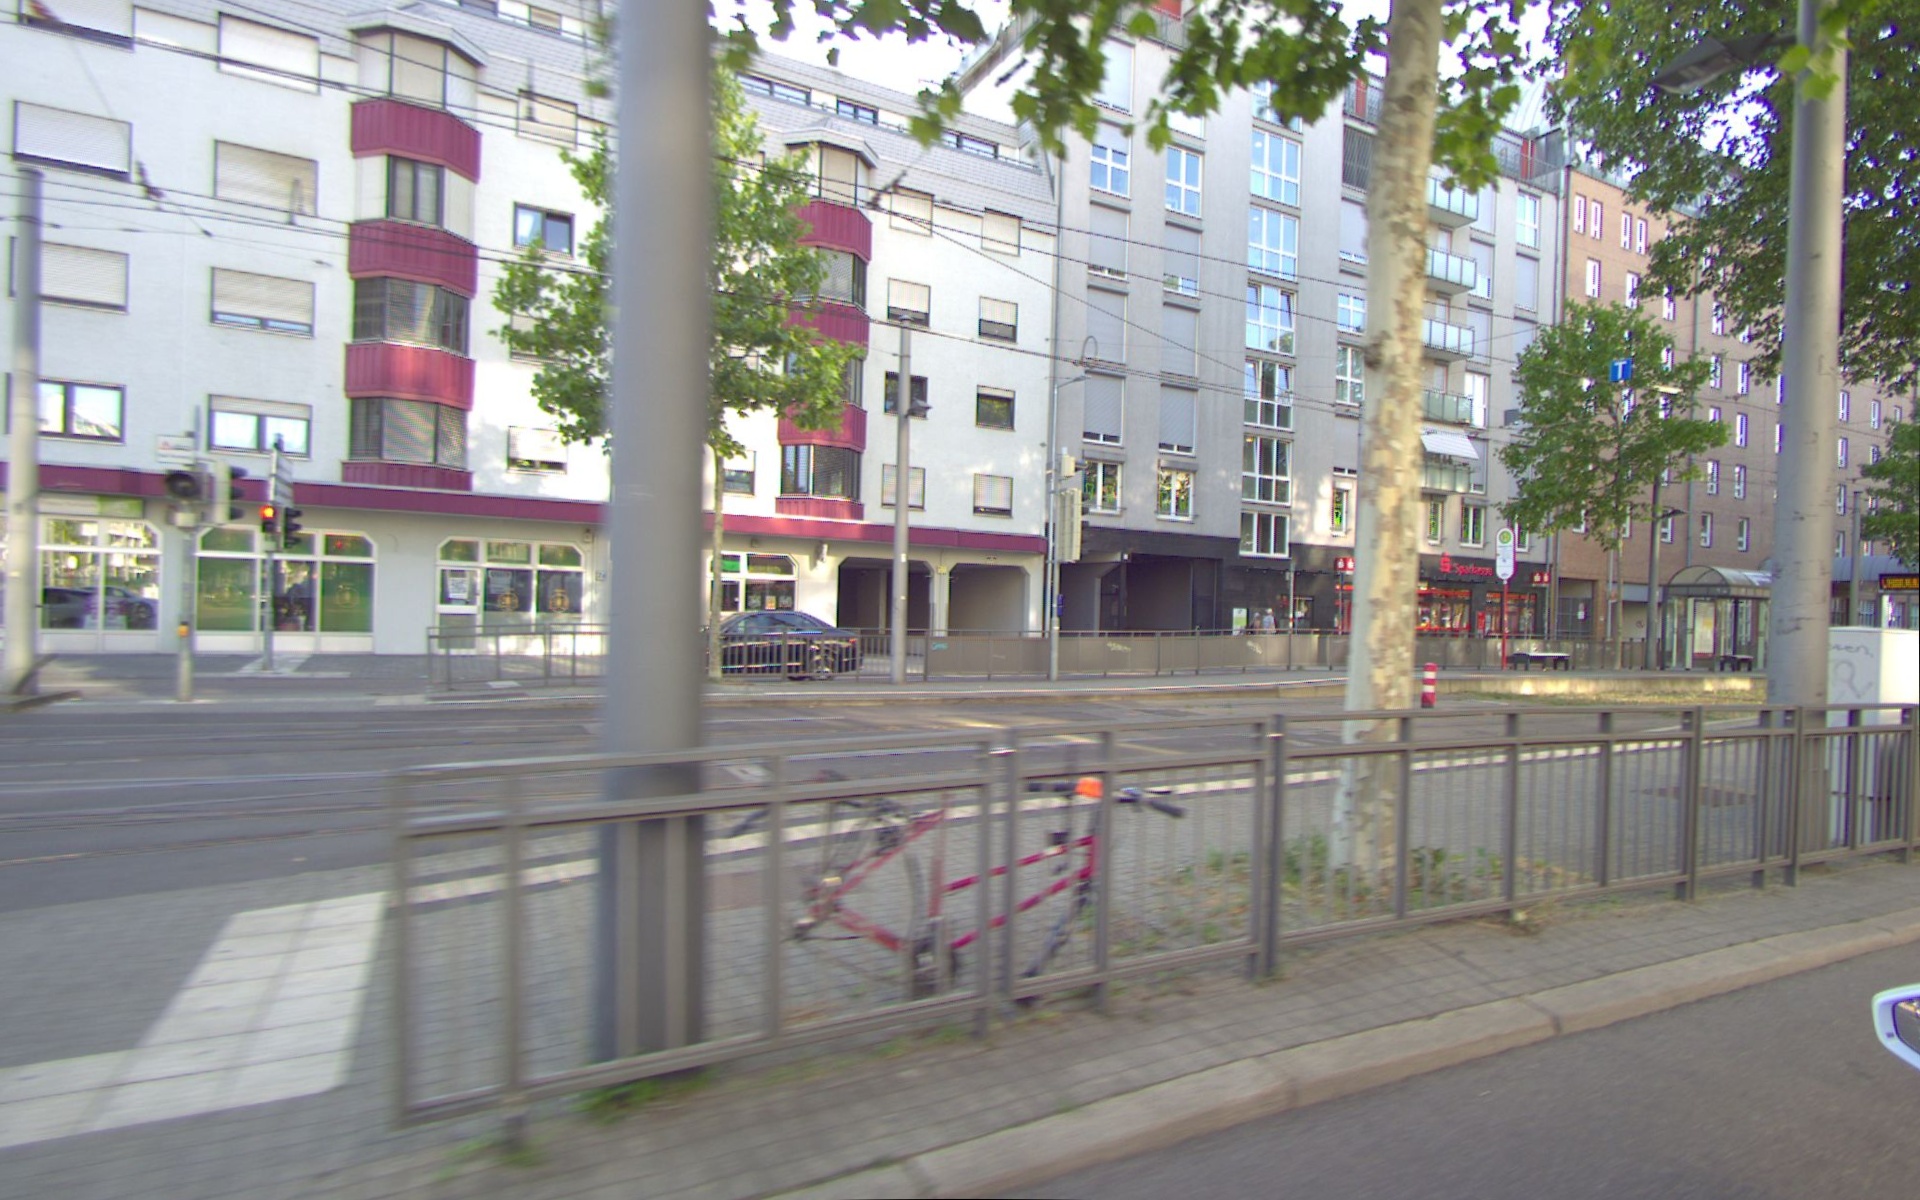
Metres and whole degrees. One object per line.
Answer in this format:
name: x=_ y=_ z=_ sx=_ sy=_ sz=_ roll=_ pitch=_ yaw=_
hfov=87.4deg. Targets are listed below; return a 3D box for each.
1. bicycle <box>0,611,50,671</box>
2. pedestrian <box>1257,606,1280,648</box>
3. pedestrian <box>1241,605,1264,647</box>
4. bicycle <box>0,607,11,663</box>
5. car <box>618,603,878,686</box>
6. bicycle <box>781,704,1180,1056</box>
bicycle: x=-16.849 y=0.708 z=17.873 sx=0.546 sy=0.998 sz=1.835 roll=2 pitch=0 yaw=-29
pedestrian: x=11.153 y=0.978 z=36.332 sx=0.581 sy=1.514 sz=0.532 roll=2 pitch=0 yaw=-30
pedestrian: x=10.712 y=0.953 z=36.795 sx=0.581 sy=1.514 sz=0.532 roll=2 pitch=0 yaw=-30
bicycle: x=-17.430 y=0.637 z=17.699 sx=0.546 sy=0.998 sz=1.835 roll=2 pitch=0 yaw=-29
car: x=-4.034 y=0.849 z=19.337 sx=4.596 sy=1.418 sz=1.692 roll=2 pitch=-1 yaw=-30
bicycle: x=0.087 y=0.894 z=3.480 sx=1.331 sy=0.962 sz=0.395 roll=-1 pitch=1 yaw=-22
